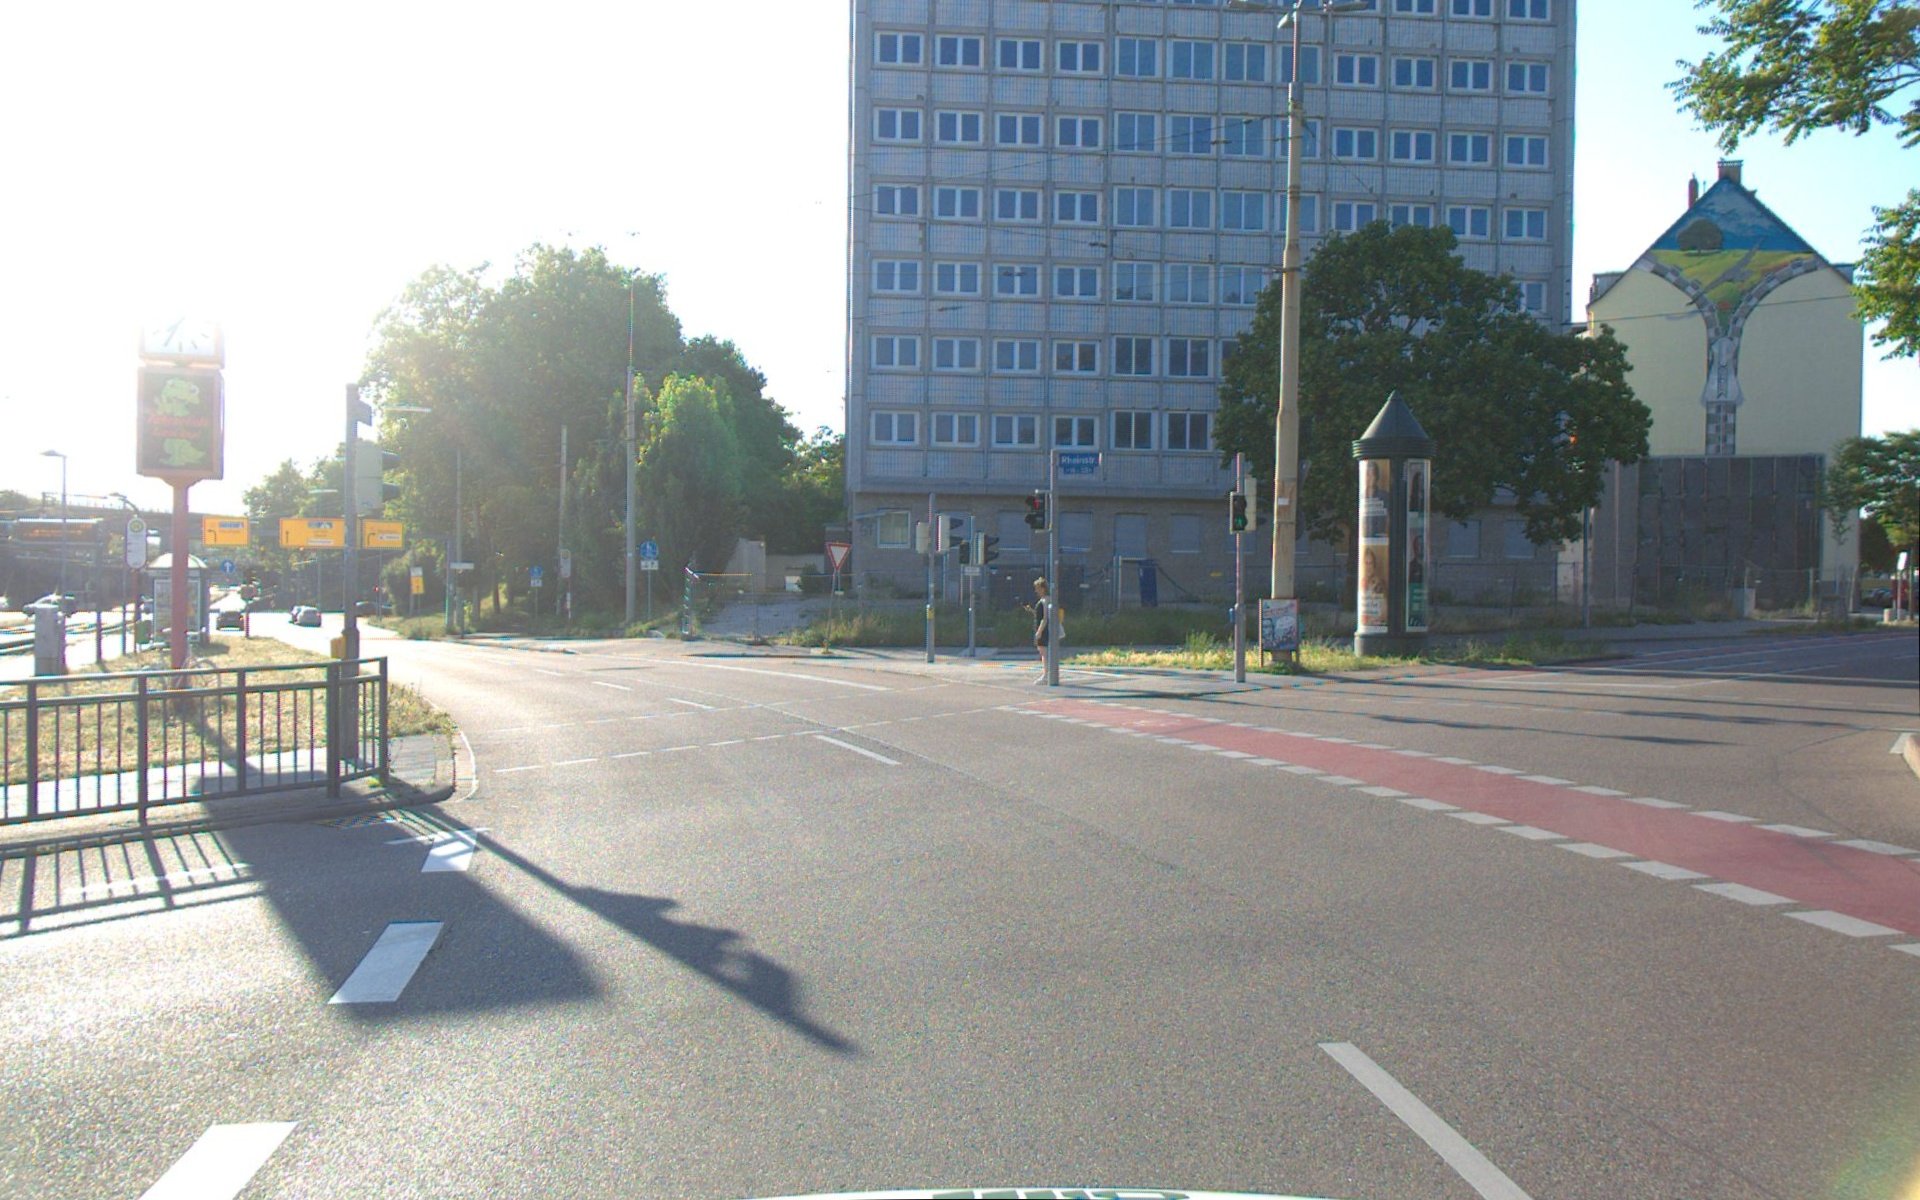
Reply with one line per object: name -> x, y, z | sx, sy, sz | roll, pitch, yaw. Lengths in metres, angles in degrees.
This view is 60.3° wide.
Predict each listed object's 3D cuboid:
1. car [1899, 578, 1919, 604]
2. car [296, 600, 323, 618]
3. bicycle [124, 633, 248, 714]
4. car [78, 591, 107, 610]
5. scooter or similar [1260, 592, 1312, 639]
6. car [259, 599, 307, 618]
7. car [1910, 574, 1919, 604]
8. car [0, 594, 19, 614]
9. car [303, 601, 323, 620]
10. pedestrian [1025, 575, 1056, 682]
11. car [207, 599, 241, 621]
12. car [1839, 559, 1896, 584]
car -> 52.450, -0.506, 88.689 | 3.476, 1.373, 1.706 | 0, 0, 25
car -> -54.976, 0.772, 139.735 | 2.010, 1.471, 3.971 | -1, 0, -23
bicycle -> -9.916, 0.926, 21.256 | 0.541, 0.934, 1.744 | -2, 1, 9
car -> -94.798, 0.054, 180.782 | 1.962, 2.049, 4.839 | -1, 0, -17
scooter or similar -> 8.424, 0.404, 42.700 | 1.271, 1.190, 0.326 | 0, 1, -3
car -> -77.841, 0.946, 190.237 | 4.752, 2.048, 1.998 | 1, 1, -5
car -> 51.093, -0.604, 85.975 | 2.967, 1.564, 1.264 | 0, 0, 32
car -> -103.746, 0.436, 179.889 | 1.966, 2.049, 3.974 | 0, 0, -22
car -> -52.158, 0.814, 133.270 | 1.494, 1.412, 3.341 | 0, 1, -22
pedestrian -> 1.248, 0.430, 25.649 | 0.427, 1.640, 0.630 | 0, 0, 6
car -> -50.460, 0.658, 113.476 | 2.010, 1.471, 3.972 | -1, 1, -23
car -> 71.462, -2.234, 130.249 | 3.914, 1.937, 1.861 | 0, 0, 31
